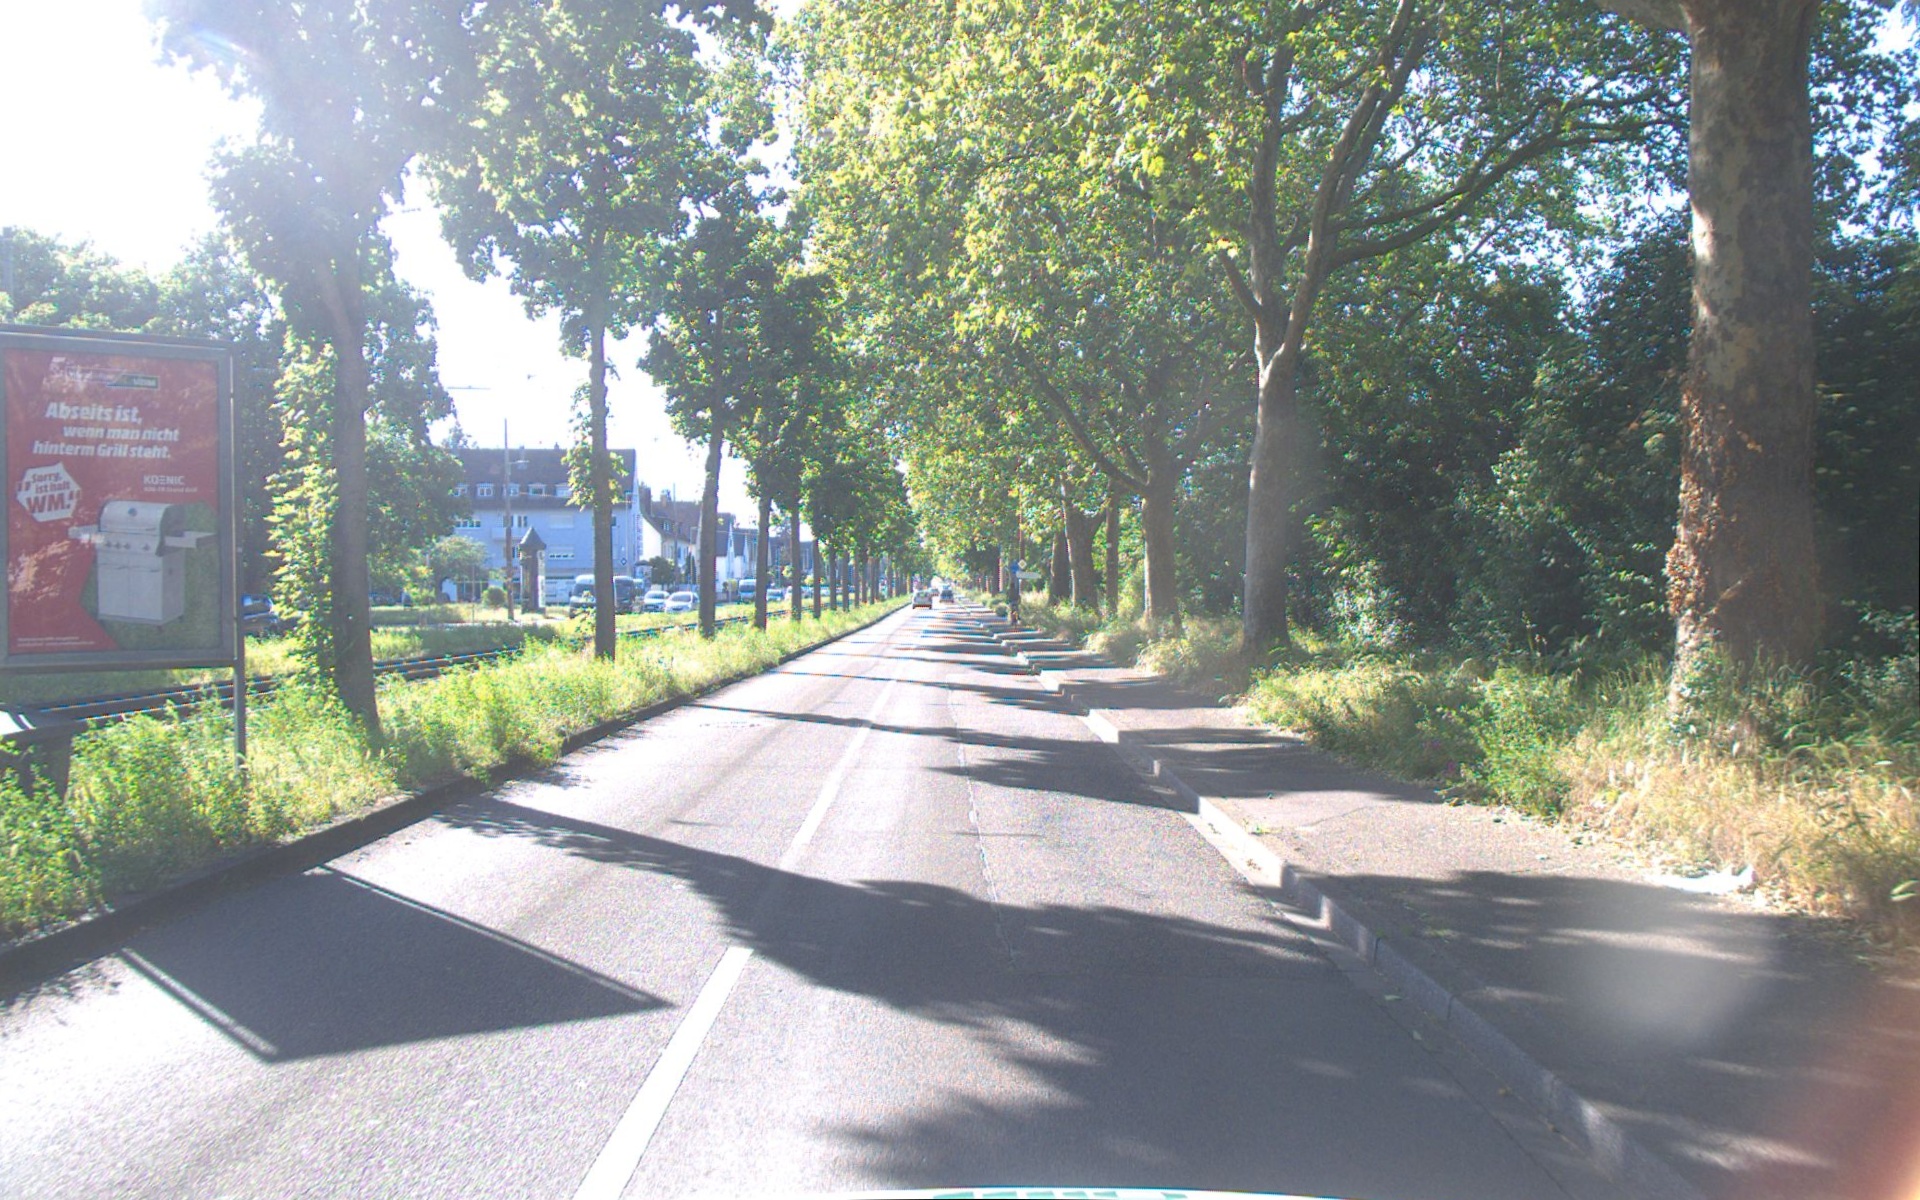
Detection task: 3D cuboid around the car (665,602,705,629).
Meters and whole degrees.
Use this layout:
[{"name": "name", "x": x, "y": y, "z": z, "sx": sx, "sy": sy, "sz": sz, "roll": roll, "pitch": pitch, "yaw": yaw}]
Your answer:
[{"name": "car", "x": -16.669, "y": 0.914, "z": 100.462, "sx": 1.691, "sy": 1.555, "sz": 4.442, "roll": 1, "pitch": 0, "yaw": 0}]

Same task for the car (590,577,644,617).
[{"name": "car", "x": -21.865, "y": -0.174, "z": 105.652, "sx": 2.138, "sy": 2.418, "sz": 6.464, "roll": 1, "pitch": 0, "yaw": -1}]

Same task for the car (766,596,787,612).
[{"name": "car", "x": -17.157, "y": 0.350, "z": 154.580, "sx": 1.525, "sy": 1.419, "sz": 3.819, "roll": 1, "pitch": 0, "yaw": -1}]

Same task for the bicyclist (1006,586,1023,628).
[{"name": "bicyclist", "x": 2.174, "y": 0.264, "z": 66.253, "sx": 0.601, "sy": 1.657, "sz": 0.909, "roll": -1, "pitch": 0, "yaw": -1}]

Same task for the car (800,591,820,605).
[{"name": "car", "x": -17.387, "y": -0.270, "z": 191.911, "sx": 1.952, "sy": 1.558, "sz": 3.751, "roll": -1, "pitch": 0, "yaw": 1}]

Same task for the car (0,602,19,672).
[{"name": "car", "x": -20.963, "y": 0.760, "z": 33.323, "sx": 1.675, "sy": 1.460, "sz": 4.000, "roll": 1, "pitch": 0, "yaw": 0}]

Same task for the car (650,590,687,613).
[{"name": "car", "x": -20.962, "y": 0.109, "z": 119.205, "sx": 1.785, "sy": 1.635, "sz": 4.773, "roll": 1, "pitch": 0, "yaw": 0}]

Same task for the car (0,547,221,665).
[{"name": "car", "x": -20.815, "y": 0.095, "z": 40.759, "sx": 2.180, "sy": 2.625, "sz": 6.798, "roll": 1, "pitch": 1, "yaw": -1}]

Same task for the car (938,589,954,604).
[{"name": "car", "x": -1.523, "y": -0.385, "z": 185.810, "sx": 1.725, "sy": 1.539, "sz": 3.276, "roll": 1, "pitch": 0, "yaw": 0}]

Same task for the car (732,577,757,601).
[{"name": "car", "x": -23.077, "y": -1.170, "z": 177.423, "sx": 1.953, "sy": 2.502, "sz": 6.673, "roll": 1, "pitch": 0, "yaw": -1}]

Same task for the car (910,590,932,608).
[{"name": "car", "x": -3.149, "y": -0.076, "z": 133.337, "sx": 1.703, "sy": 1.425, "sz": 3.276, "roll": 1, "pitch": 0, "yaw": -1}]

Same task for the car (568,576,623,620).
[{"name": "car", "x": -21.531, "y": -0.108, "z": 97.990, "sx": 1.961, "sy": 2.540, "sz": 6.136, "roll": 1, "pitch": 0, "yaw": -1}]

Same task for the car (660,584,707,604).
[{"name": "car", "x": -27.380, "y": -0.584, "z": 163.798, "sx": 4.535, "sy": 1.979, "sz": 1.995, "roll": 0, "pitch": 0, "yaw": -11}]

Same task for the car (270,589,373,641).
[{"name": "car", "x": -20.875, "y": 0.486, "z": 54.253, "sx": 1.640, "sy": 1.612, "sz": 4.248, "roll": 1, "pitch": 0, "yaw": 1}]

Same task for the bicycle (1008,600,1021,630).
[{"name": "bicycle", "x": 2.196, "y": 0.588, "z": 66.308, "sx": 0.431, "sy": 1.173, "sz": 1.823, "roll": -1, "pitch": 0, "yaw": -1}]

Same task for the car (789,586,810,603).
[{"name": "car", "x": -17.132, "y": -0.550, "z": 176.512, "sx": 1.774, "sy": 1.775, "sz": 4.981, "roll": 1, "pitch": 0, "yaw": -1}]

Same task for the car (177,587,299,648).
[{"name": "car", "x": -20.913, "y": 0.496, "z": 48.122, "sx": 1.589, "sy": 1.651, "sz": 4.532, "roll": 1, "pitch": 0, "yaw": -1}]
